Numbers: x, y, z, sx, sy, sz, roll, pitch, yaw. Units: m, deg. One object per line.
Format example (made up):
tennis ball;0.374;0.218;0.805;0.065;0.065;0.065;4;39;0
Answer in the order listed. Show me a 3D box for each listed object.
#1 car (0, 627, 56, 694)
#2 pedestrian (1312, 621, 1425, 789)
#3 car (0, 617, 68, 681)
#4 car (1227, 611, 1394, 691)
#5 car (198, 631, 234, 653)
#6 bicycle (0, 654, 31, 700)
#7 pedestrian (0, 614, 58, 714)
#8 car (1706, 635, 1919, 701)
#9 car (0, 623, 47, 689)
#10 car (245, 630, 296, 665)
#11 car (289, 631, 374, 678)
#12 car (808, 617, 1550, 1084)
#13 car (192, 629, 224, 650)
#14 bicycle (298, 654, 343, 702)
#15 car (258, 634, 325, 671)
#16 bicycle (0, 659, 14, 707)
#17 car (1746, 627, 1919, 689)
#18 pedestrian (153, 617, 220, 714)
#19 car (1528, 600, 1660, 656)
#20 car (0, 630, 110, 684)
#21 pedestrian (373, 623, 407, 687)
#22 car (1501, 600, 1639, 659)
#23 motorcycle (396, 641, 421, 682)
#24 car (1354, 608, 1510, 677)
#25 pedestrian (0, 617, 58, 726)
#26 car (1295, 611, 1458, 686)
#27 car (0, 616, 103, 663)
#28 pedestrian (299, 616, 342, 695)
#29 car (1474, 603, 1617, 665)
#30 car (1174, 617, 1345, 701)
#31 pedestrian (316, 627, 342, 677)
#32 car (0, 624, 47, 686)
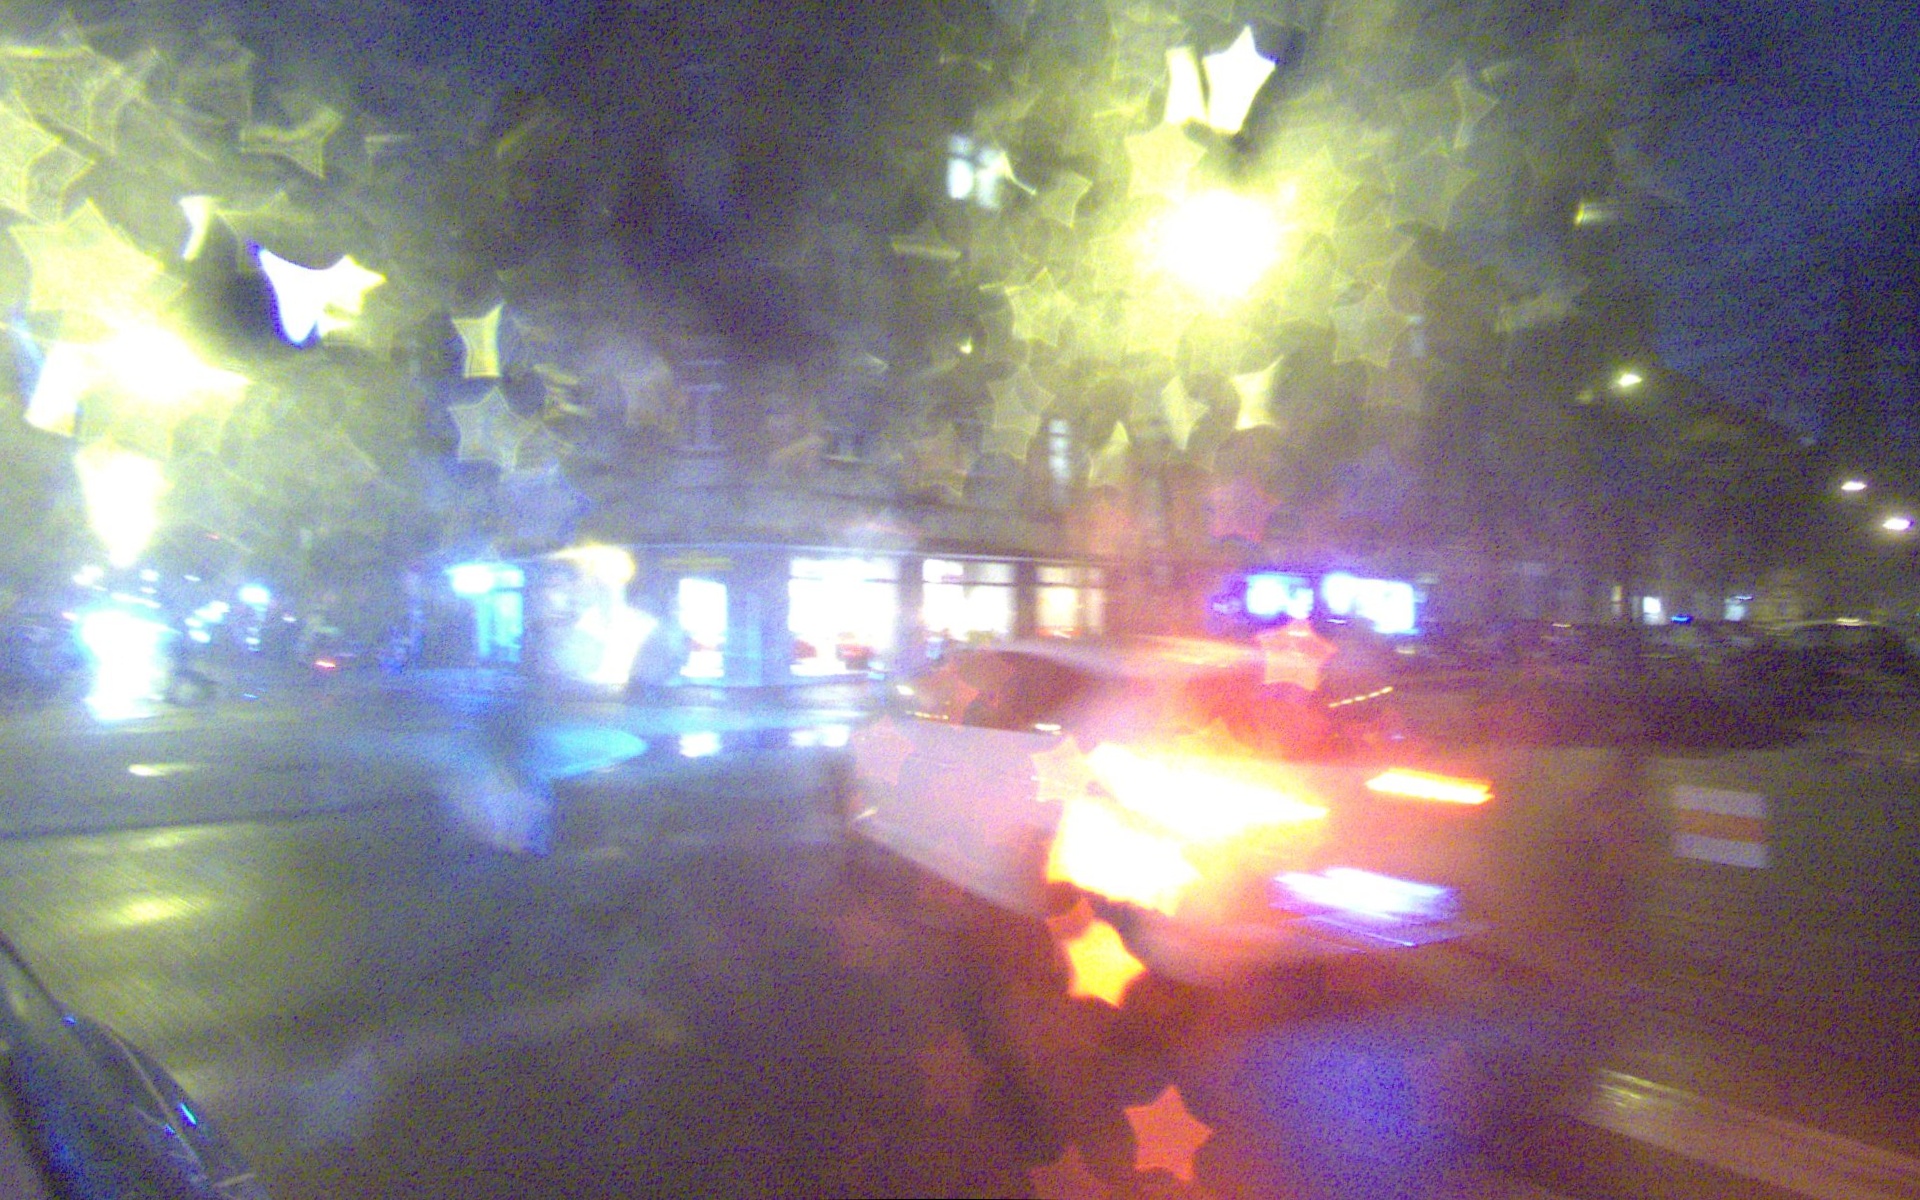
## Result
car;-24.195;1.391;23.613;1.759;1.586;4.232;0;-3;21
pedestrian;4.796;1.201;11.907;0.785;1.872;0.949;3;-3;-27
car;-31.396;1.568;32.505;1.705;2.044;3.722;0;-3;14
car;9.800;1.369;28.515;1.967;2.029;4.009;-1;0;-36
car;-53.447;2.995;72.680;1.824;1.489;3.741;-1;-1;-40
bicycle;-22.028;1.743;22.970;1.625;1.034;0.335;0;-3;4
pedestrian;-17.980;1.200;19.178;0.865;1.847;0.985;0;-2;-4
car;18.304;1.402;21.444;1.566;1.285;3.728;3;-3;-38
car;-26.202;1.415;25.967;1.755;1.725;3.721;0;-3;15
car;-32.268;2.192;47.326;1.694;1.489;3.793;-1;-1;-38
car;-21.961;1.851;35.251;1.823;1.490;5.039;1;-2;-40
car;0.619;0.869;5.319;1.541;1.438;4.082;2;-3;-27
car;-60.685;3.155;81.642;1.824;1.592;3.741;-1;-1;-40
bicycle;-15.128;1.817;23.912;0.703;1.067;1.805;2;-3;-38
car;-28.602;2.202;43.264;1.696;1.490;4.164;1;-2;-43
bicycle;-22.071;1.823;22.588;1.626;1.034;0.335;2;-3;6
car;21.785;1.404;24.974;1.566;1.414;3.469;3;-3;-38
pedestrian;-15.612;1.286;20.409;0.944;1.877;1.417;2;-3;-41
car;24.690;1.067;39.473;4.002;2.029;1.971;-1;0;45
car;-29.116;1.746;31.247;1.817;1.610;4.052;0;-3;15
pedestrian;-16.242;1.558;28.837;0.814;1.784;0.602;0;-1;-28
car;22.674;1.089;37.700;4.002;2.029;1.971;-2;0;45
motorcycle;-20.629;2.296;37.826;0.530;1.482;1.460;0;-1;-41
car;14.954;1.296;32.245;1.967;2.029;4.009;-1;0;-36
pedestrian;-16.348;1.227;17.784;0.666;1.846;1.080;0;-1;-38
car;12.288;1.380;30.069;1.967;2.029;4.009;-1;0;-36
car;-42.292;1.773;46.059;1.965;1.995;4.680;0;0;20
pedestrian;-15.124;1.299;23.927;0.703;1.825;1.127;2;-3;-38
car;20.862;1.204;36.162;4.002;2.029;1.971;-2;-1;45
car;7.973;1.503;27.229;1.967;2.029;4.009;-1;0;-36
pedestrian;-29.061;2.374;46.604;0.789;2.258;1.118;2;-3;-41
car;-27.877;1.492;27.790;1.732;1.725;3.774;0;-3;15
